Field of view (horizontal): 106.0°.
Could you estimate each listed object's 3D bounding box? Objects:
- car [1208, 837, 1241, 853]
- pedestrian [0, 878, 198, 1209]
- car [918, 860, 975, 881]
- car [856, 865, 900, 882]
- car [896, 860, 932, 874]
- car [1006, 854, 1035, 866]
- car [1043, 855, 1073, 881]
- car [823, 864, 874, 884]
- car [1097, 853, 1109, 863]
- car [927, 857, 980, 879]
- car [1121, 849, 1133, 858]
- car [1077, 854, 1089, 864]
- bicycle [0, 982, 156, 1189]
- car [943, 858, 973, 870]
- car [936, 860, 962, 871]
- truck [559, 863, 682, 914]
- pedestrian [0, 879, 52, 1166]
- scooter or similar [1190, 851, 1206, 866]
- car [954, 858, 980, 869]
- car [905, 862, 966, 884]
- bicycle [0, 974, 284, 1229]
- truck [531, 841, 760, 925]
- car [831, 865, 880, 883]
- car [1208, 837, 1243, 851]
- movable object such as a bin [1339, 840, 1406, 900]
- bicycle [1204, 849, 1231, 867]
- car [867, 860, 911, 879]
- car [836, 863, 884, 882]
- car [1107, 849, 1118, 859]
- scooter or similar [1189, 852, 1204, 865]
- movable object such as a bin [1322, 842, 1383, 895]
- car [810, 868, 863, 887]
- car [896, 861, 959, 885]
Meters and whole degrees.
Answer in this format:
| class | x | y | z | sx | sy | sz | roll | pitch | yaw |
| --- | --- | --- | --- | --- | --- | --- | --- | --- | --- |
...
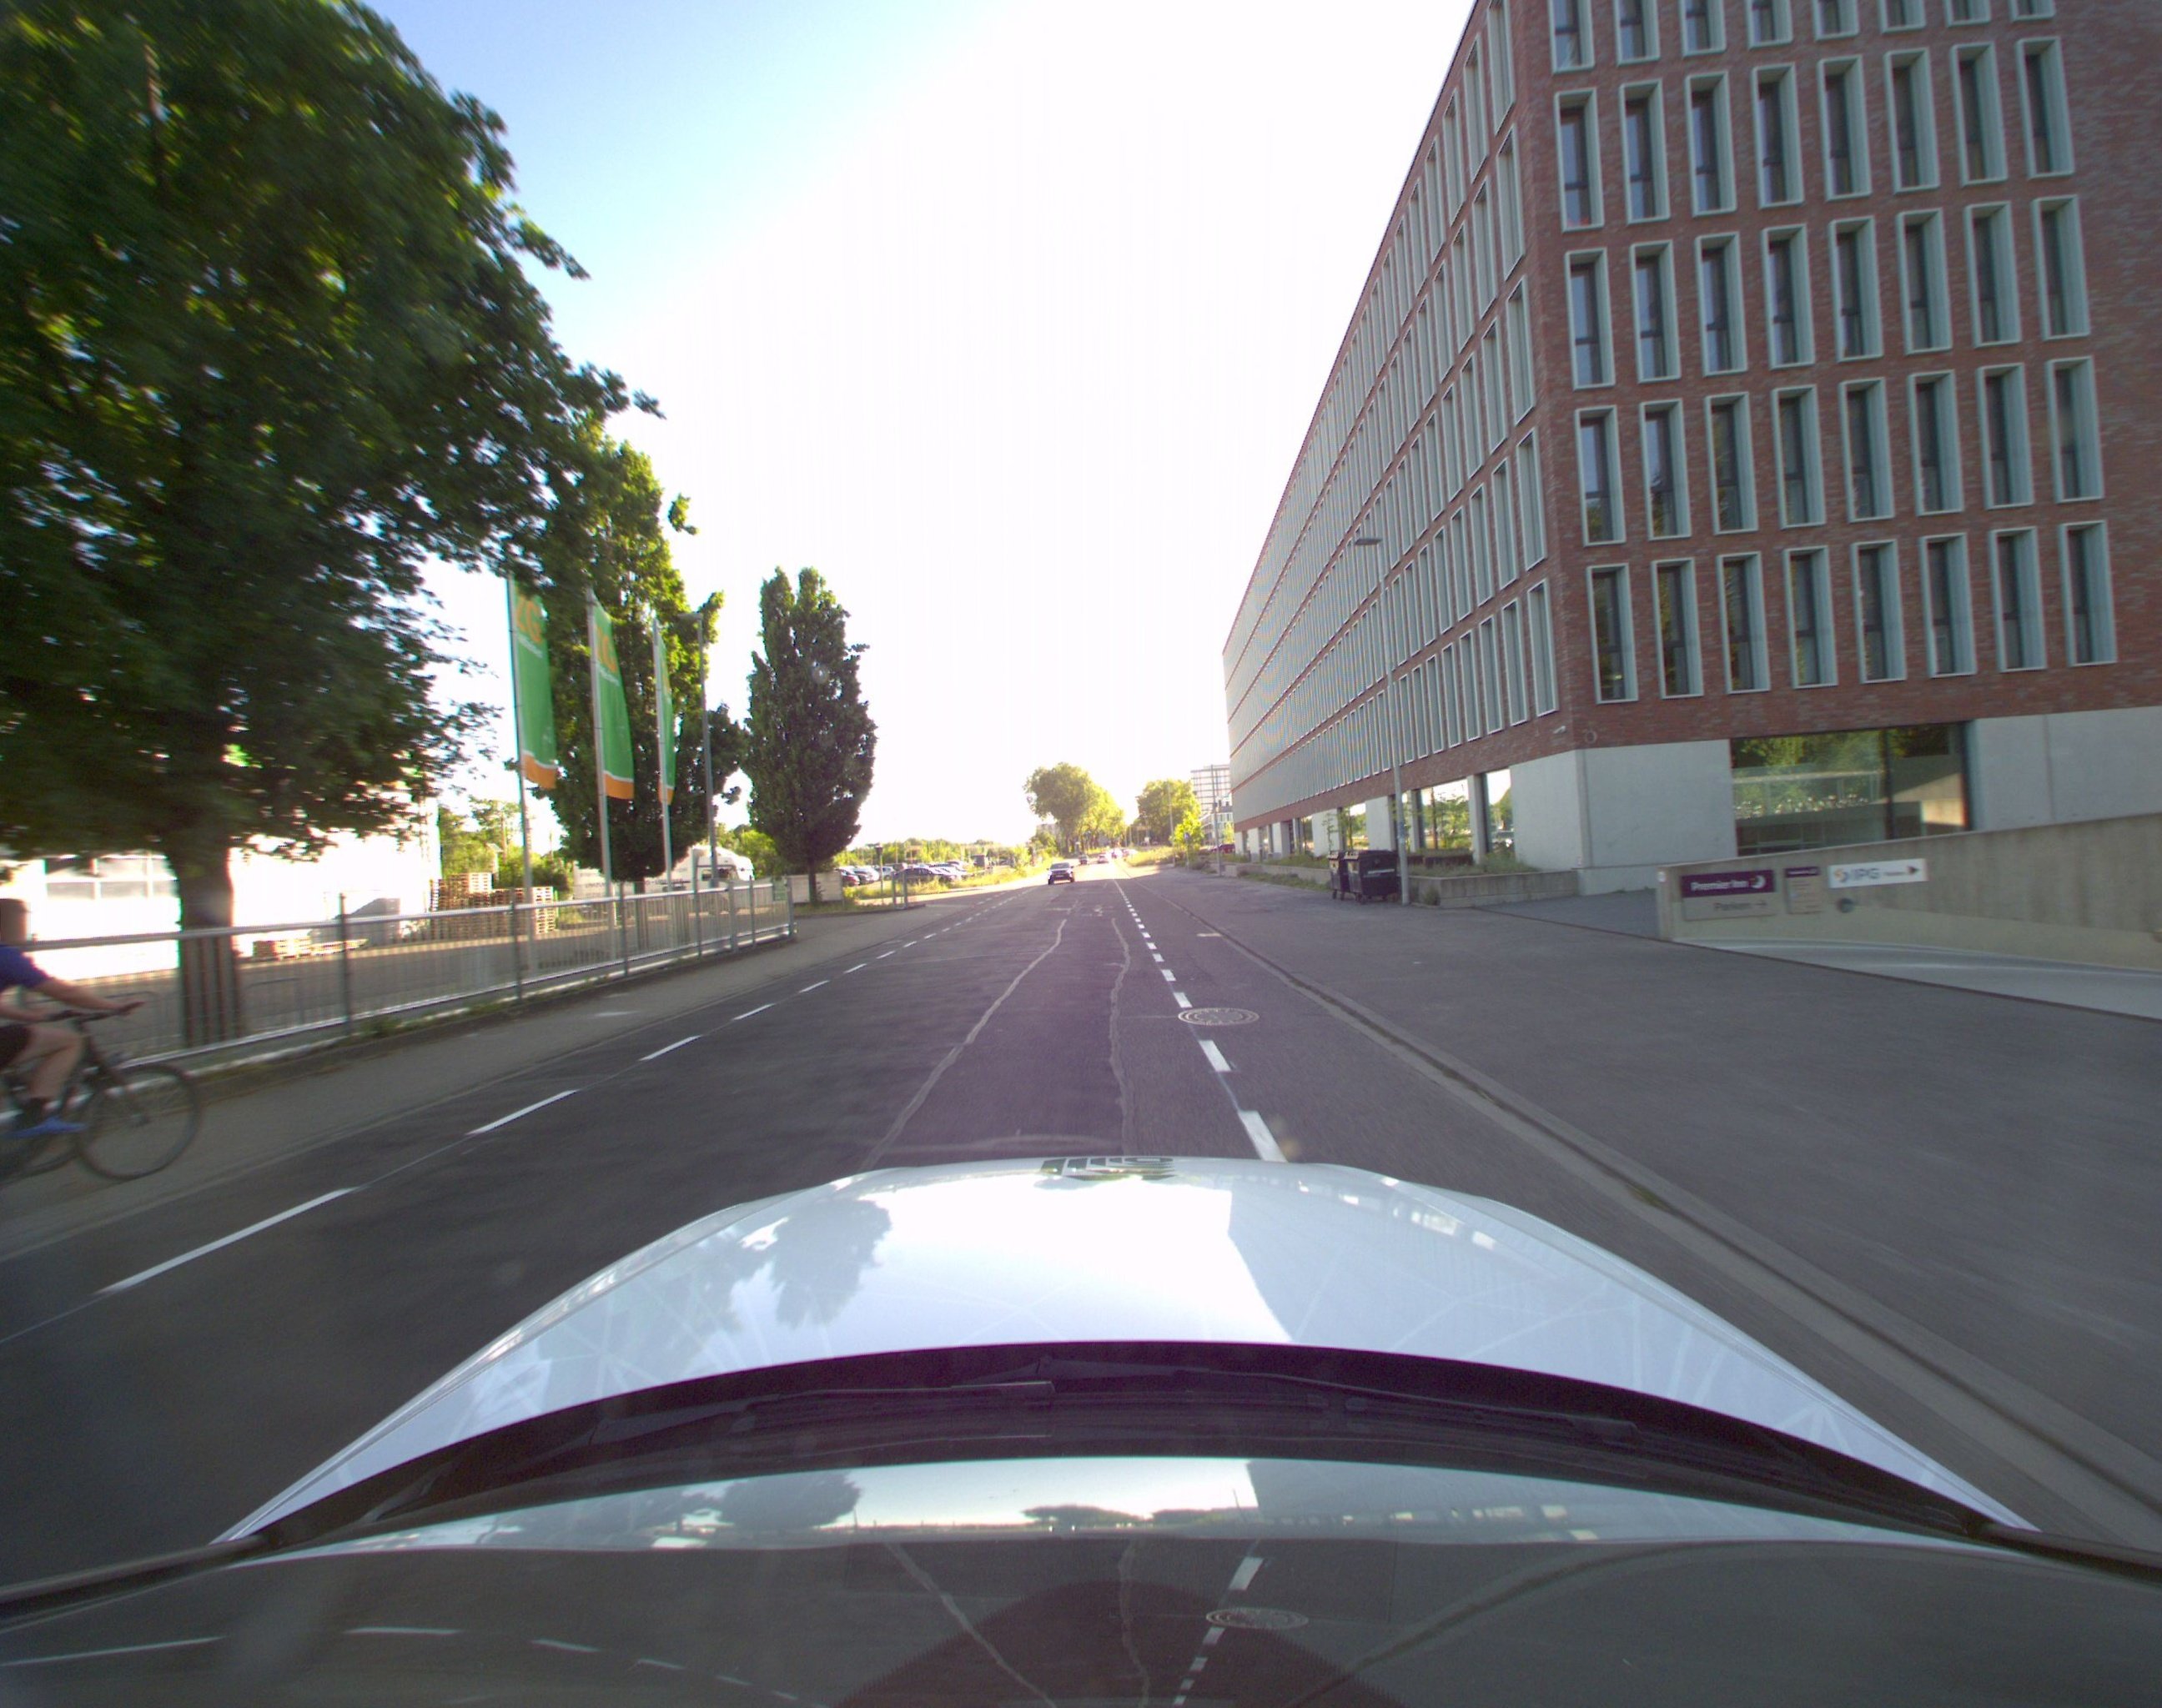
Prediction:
| class | x | y | z | sx | sy | sz | roll | pitch | yaw |
| --- | --- | --- | --- | --- | --- | --- | --- | --- | --- |
| car | 19.513 | -1.215 | 110.512 | 4.165 | 1.581 | 1.853 | -4 | -6 | 4 |
| pedestrian | -6.099 | 1.040 | 4.707 | 0.718 | 1.720 | 1.057 | -4 | 0 | 1 |
| car | -11.495 | 1.395 | 69.974 | 4.411 | 1.461 | 2.050 | -4 | 0 | 2 |
| car | -22.884 | 2.203 | 91.920 | 4.350 | 1.545 | 1.858 | -3 | 0 | 2 |
| car | -22.012 | 1.755 | 107.582 | 4.305 | 1.523 | 1.879 | -3 | 0 | 2 |
| car | -10.646 | 1.062 | 144.086 | 4.829 | 1.834 | 2.000 | -3 | 0 | 0 |
| car | -1.547 | 0.962 | 56.950 | 1.735 | 1.525 | 4.112 | -8 | 0 | 1 |
| car | -22.051 | 1.879 | 77.448 | 4.150 | 1.578 | 2.047 | -4 | 0 | -3 |
| car | 3.549 | 0.598 | 132.233 | 1.783 | 1.420 | 4.003 | -3 | 0 | 3 |
| car | -11.767 | 1.307 | 75.544 | 4.411 | 1.670 | 2.050 | -4 | 0 | 2 |
| car | 9.421 | -0.175 | 166.277 | 2.153 | 1.684 | 4.005 | -4 | 0 | 5 |
| car | 0.390 | 0.825 | 129.902 | 1.648 | 1.503 | 4.001 | -5 | -1 | 2 |
| bicycle | -6.923 | 1.502 | 4.919 | 0.468 | 1.148 | 1.870 | -2 | 0 | 1 |
| car | -21.011 | 1.690 | 138.962 | 4.558 | 1.741 | 2.061 | -3 | 0 | 5 |
| car | -21.350 | 1.849 | 131.705 | 3.870 | 1.603 | 1.878 | -3 | 0 | 0 |
| truck | -30.023 | 2.204 | 53.239 | 6.475 | 2.807 | 2.316 | -4 | 0 | -1 |
| pedestrian | -6.921 | 1.042 | 4.617 | 0.718 | 1.720 | 1.057 | -4 | 0 | 1 |
| scooter or similar | 10.729 | 0.397 | 74.736 | 1.334 | 1.245 | 0.424 | -4 | 0 | 5 |
| car | -20.962 | 1.741 | 149.926 | 4.307 | 1.618 | 1.878 | -3 | 0 | 0 |
| car | -11.882 | 1.512 | 66.738 | 4.411 | 1.461 | 2.050 | -4 | 0 | 2 |
| bicycle | -6.053 | 1.452 | 4.811 | 0.444 | 1.148 | 2.202 | -2 | 0 | 1 |
| truck | -22.139 | 1.437 | 41.771 | 10.065 | 3.614 | 2.775 | -3 | -1 | 0 |
| car | -22.069 | 1.961 | 79.893 | 4.150 | 1.397 | 2.047 | -4 | 0 | -3 |
| car | 18.405 | -1.305 | 103.555 | 4.165 | 1.580 | 1.854 | -3 | 0 | 4 |
| movable object such as a bin | 7.327 | 0.384 | 20.532 | 1.125 | 1.371 | 1.345 | -4 | 0 | 0 |
| bicycle | 10.541 | 0.299 | 63.060 | 1.929 | 1.169 | 0.374 | -5 | 0 | -5 |
| car | -22.233 | 1.785 | 94.291 | 4.559 | 1.805 | 1.858 | -3 | 0 | 2 |
| car | -22.295 | 1.869 | 82.207 | 4.149 | 1.662 | 1.965 | -4 | 0 | -2 |
| car | 6.236 | 0.028 | 160.897 | 2.155 | 1.684 | 4.003 | -4 | 0 | 3 |
| scooter or similar | 10.815 | 0.414 | 76.293 | 1.237 | 1.155 | 0.366 | -4 | 0 | 5 |
| movable object such as a bin | 7.366 | 0.379 | 22.155 | 1.125 | 1.336 | 1.345 | -4 | 0 | 0 |
| car | -22.300 | 2.117 | 74.407 | 4.150 | 1.397 | 2.047 | -4 | 0 | -3 |
| car | -11.989 | 1.478 | 63.833 | 4.411 | 1.580 | 2.050 | -4 | 0 | 2 |
